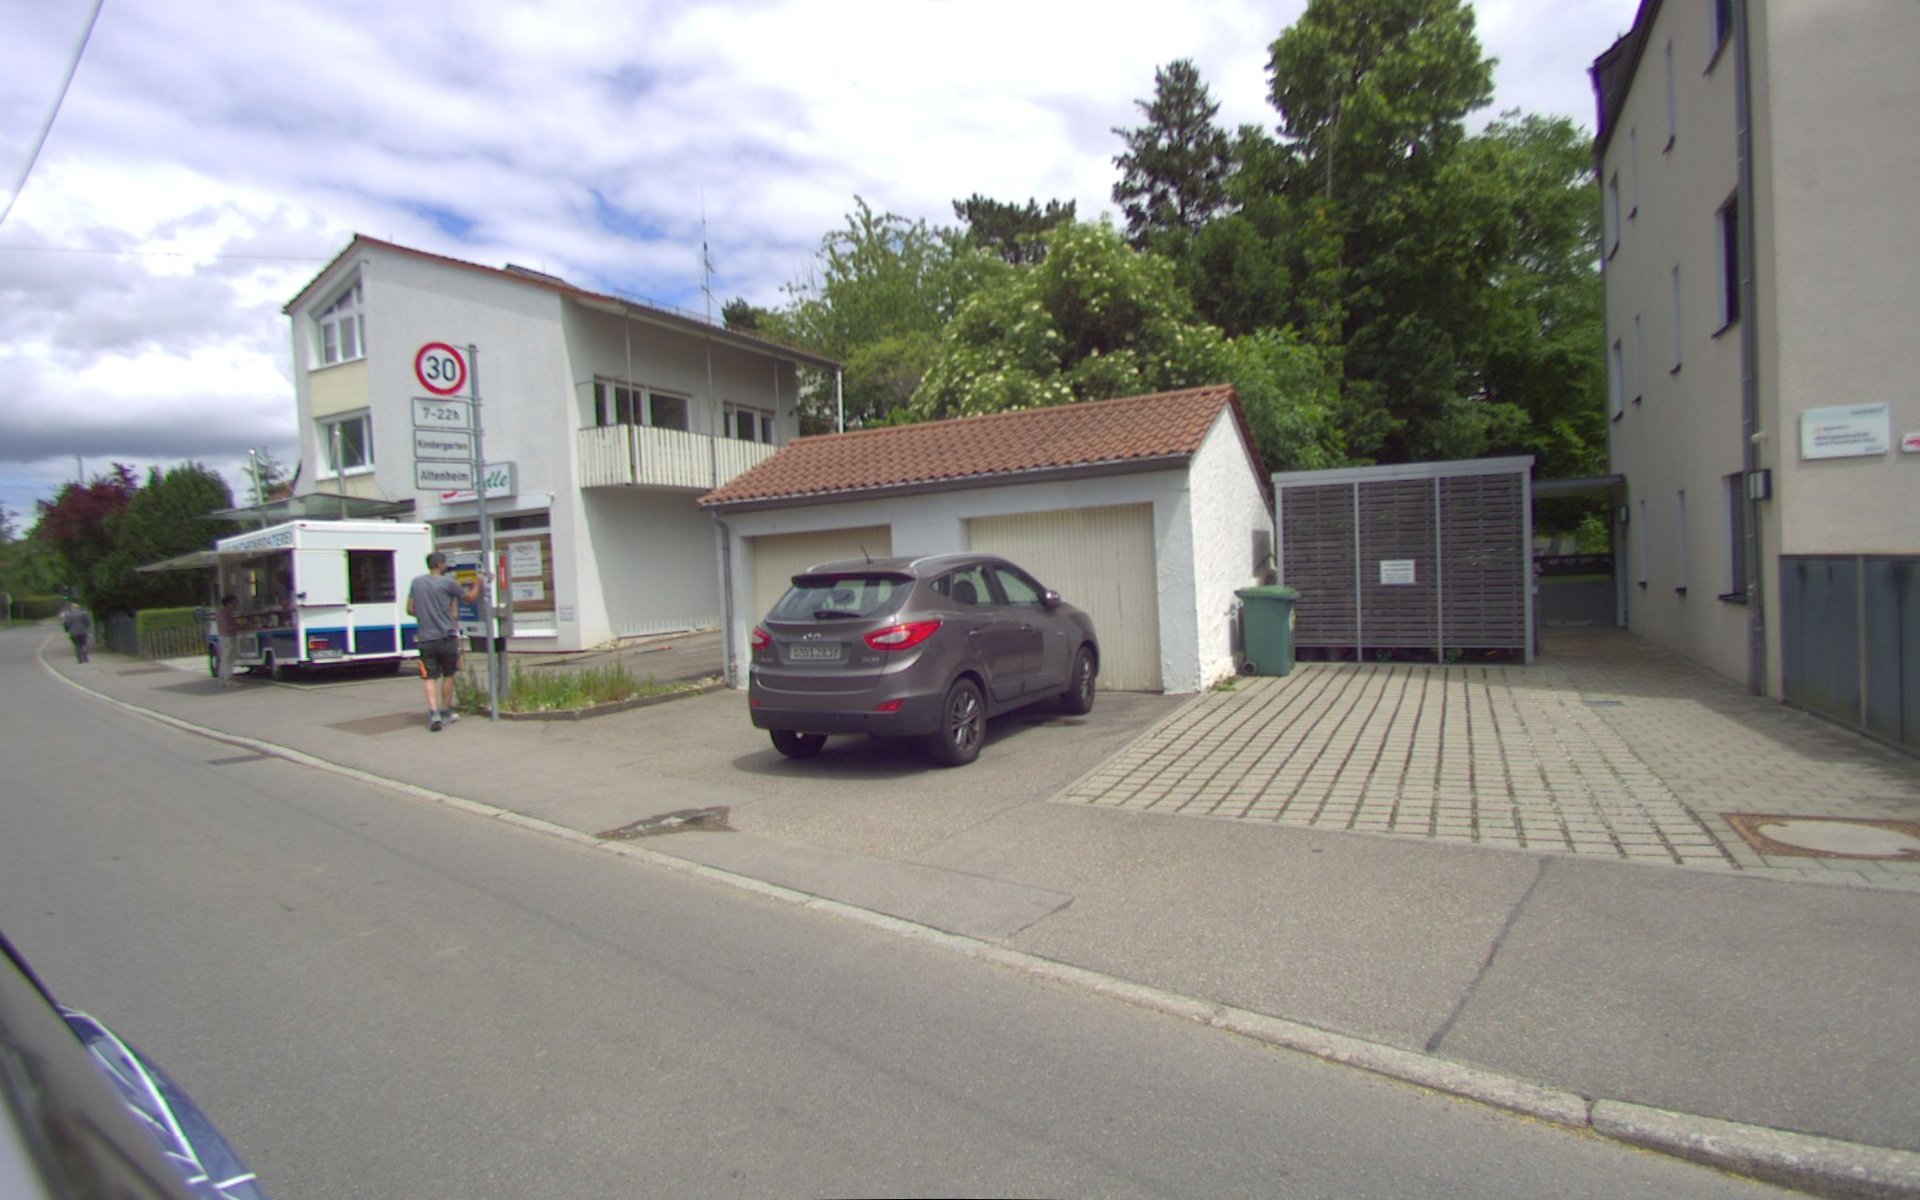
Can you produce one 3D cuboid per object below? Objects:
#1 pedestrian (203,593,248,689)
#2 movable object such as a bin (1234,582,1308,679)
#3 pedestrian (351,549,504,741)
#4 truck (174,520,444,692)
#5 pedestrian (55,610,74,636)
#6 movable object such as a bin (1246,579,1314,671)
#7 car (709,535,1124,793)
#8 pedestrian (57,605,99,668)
[{"bbox_3d":[-13.542,0.747,18.658,0.597,1.707,0.397,-1,4,39],"label":"pedestrian"},{"bbox_3d":[3.776,0.362,12.258,0.701,1.091,0.683,-2,3,27],"label":"movable object such as a bin"},{"bbox_3d":[-5.928,0.459,11.288,0.736,1.960,1.200,-1,4,44],"label":"pedestrian"},{"bbox_3d":[-12.986,0.095,19.956,6.701,2.861,2.449,-1,2,40],"label":"truck"},{"bbox_3d":[-63.062,1.596,71.264,0.810,1.757,0.605,-6,4,-40],"label":"pedestrian"},{"bbox_3d":[4.088,0.319,12.905,0.689,1.091,0.683,-2,3,27],"label":"movable object such as a bin"},{"bbox_3d":[-0.102,0.363,9.398,1.790,1.708,4.284,-2,4,29],"label":"car"},{"bbox_3d":[-25.741,1.039,29.534,1.110,1.698,0.715,3,7,44],"label":"pedestrian"}]
